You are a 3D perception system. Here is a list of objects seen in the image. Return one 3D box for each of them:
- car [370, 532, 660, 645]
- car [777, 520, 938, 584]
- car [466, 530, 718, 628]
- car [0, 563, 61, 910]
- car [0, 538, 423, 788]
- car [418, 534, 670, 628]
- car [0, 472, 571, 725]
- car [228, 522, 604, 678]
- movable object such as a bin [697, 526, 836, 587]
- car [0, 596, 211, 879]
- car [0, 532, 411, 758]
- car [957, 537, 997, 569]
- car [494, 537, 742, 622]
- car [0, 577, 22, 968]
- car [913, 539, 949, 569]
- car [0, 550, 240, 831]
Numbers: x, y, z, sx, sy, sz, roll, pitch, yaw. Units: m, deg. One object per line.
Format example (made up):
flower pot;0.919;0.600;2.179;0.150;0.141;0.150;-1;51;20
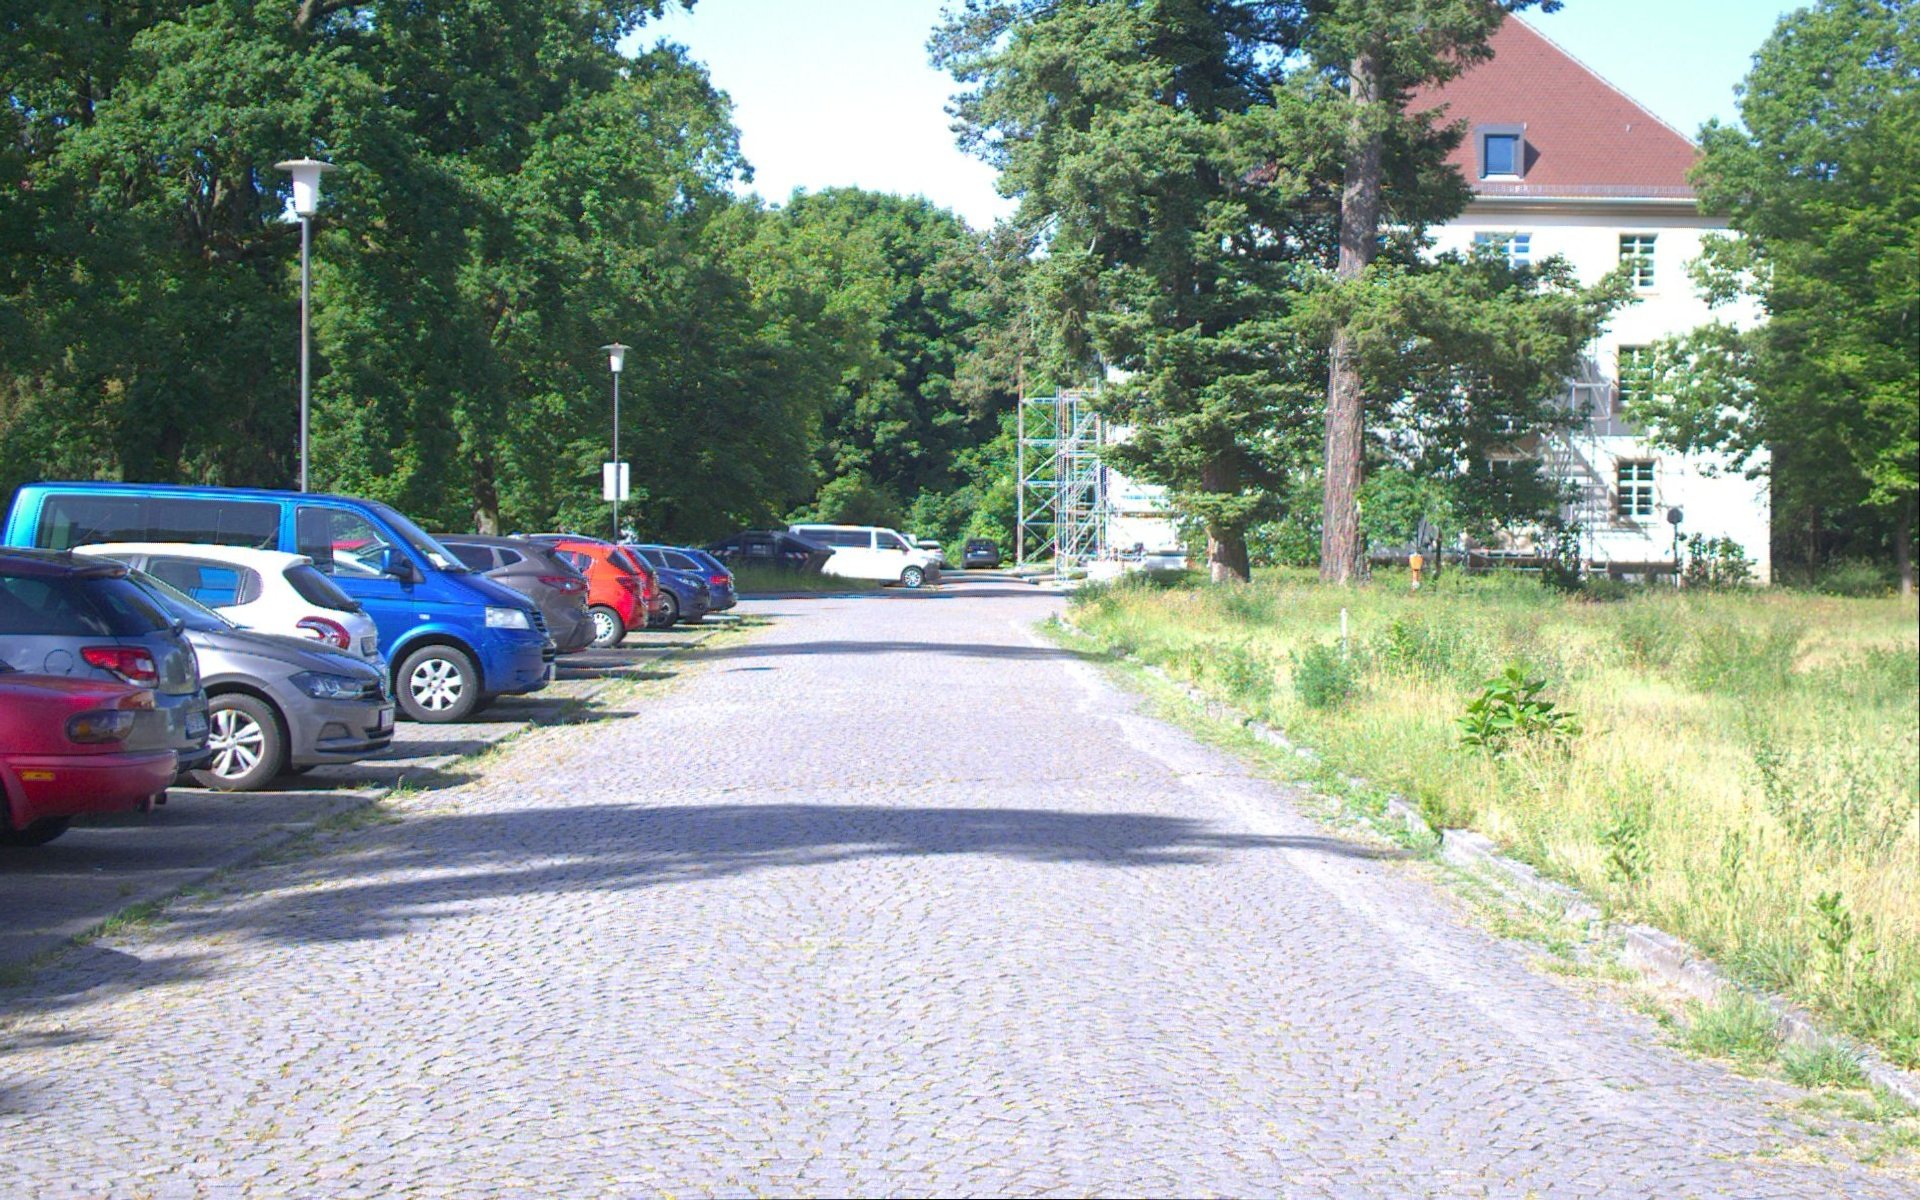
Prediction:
car;-6.334;-0.174;49.264;3.923;1.456;1.842;2;1;-2
car;-3.364;-1.585;113.123;5.234;2.009;1.950;1;1;-1
car;-6.340;-0.372;59.543;4.135;1.574;1.884;1;1;-1
car;-6.353;0.490;13.955;4.864;1.416;1.938;2;1;0
car;-5.621;0.344;21.827;4.077;1.420;1.923;2;1;1
car;-6.888;-0.329;57.143;3.923;1.428;1.842;1;1;1
car;-5.889;-0.027;29.986;4.717;1.961;2.005;2;1;-1
car;-6.105;-0.020;38.936;3.953;1.562;1.974;2;2;-2
movable object such as a bin;-5.623;-1.283;100.011;3.568;1.738;2.023;0;1;18
car;-5.573;0.573;16.275;3.630;1.230;1.760;2;0;1
car;-6.204;0.276;24.705;4.196;1.470;1.824;2;1;-1
car;0.872;-2.443;179.468;1.971;1.662;4.086;0;1;-1
car;-6.360;-0.393;64.227;4.360;1.440;1.921;1;1;2
car;-5.883;0.549;11.616;4.864;1.416;1.938;2;0;0
car;-1.529;-2.400;179.150;1.812;1.574;4.135;0;1;-1
car;-6.221;0.421;18.937;4.077;1.447;1.822;2;0;1
